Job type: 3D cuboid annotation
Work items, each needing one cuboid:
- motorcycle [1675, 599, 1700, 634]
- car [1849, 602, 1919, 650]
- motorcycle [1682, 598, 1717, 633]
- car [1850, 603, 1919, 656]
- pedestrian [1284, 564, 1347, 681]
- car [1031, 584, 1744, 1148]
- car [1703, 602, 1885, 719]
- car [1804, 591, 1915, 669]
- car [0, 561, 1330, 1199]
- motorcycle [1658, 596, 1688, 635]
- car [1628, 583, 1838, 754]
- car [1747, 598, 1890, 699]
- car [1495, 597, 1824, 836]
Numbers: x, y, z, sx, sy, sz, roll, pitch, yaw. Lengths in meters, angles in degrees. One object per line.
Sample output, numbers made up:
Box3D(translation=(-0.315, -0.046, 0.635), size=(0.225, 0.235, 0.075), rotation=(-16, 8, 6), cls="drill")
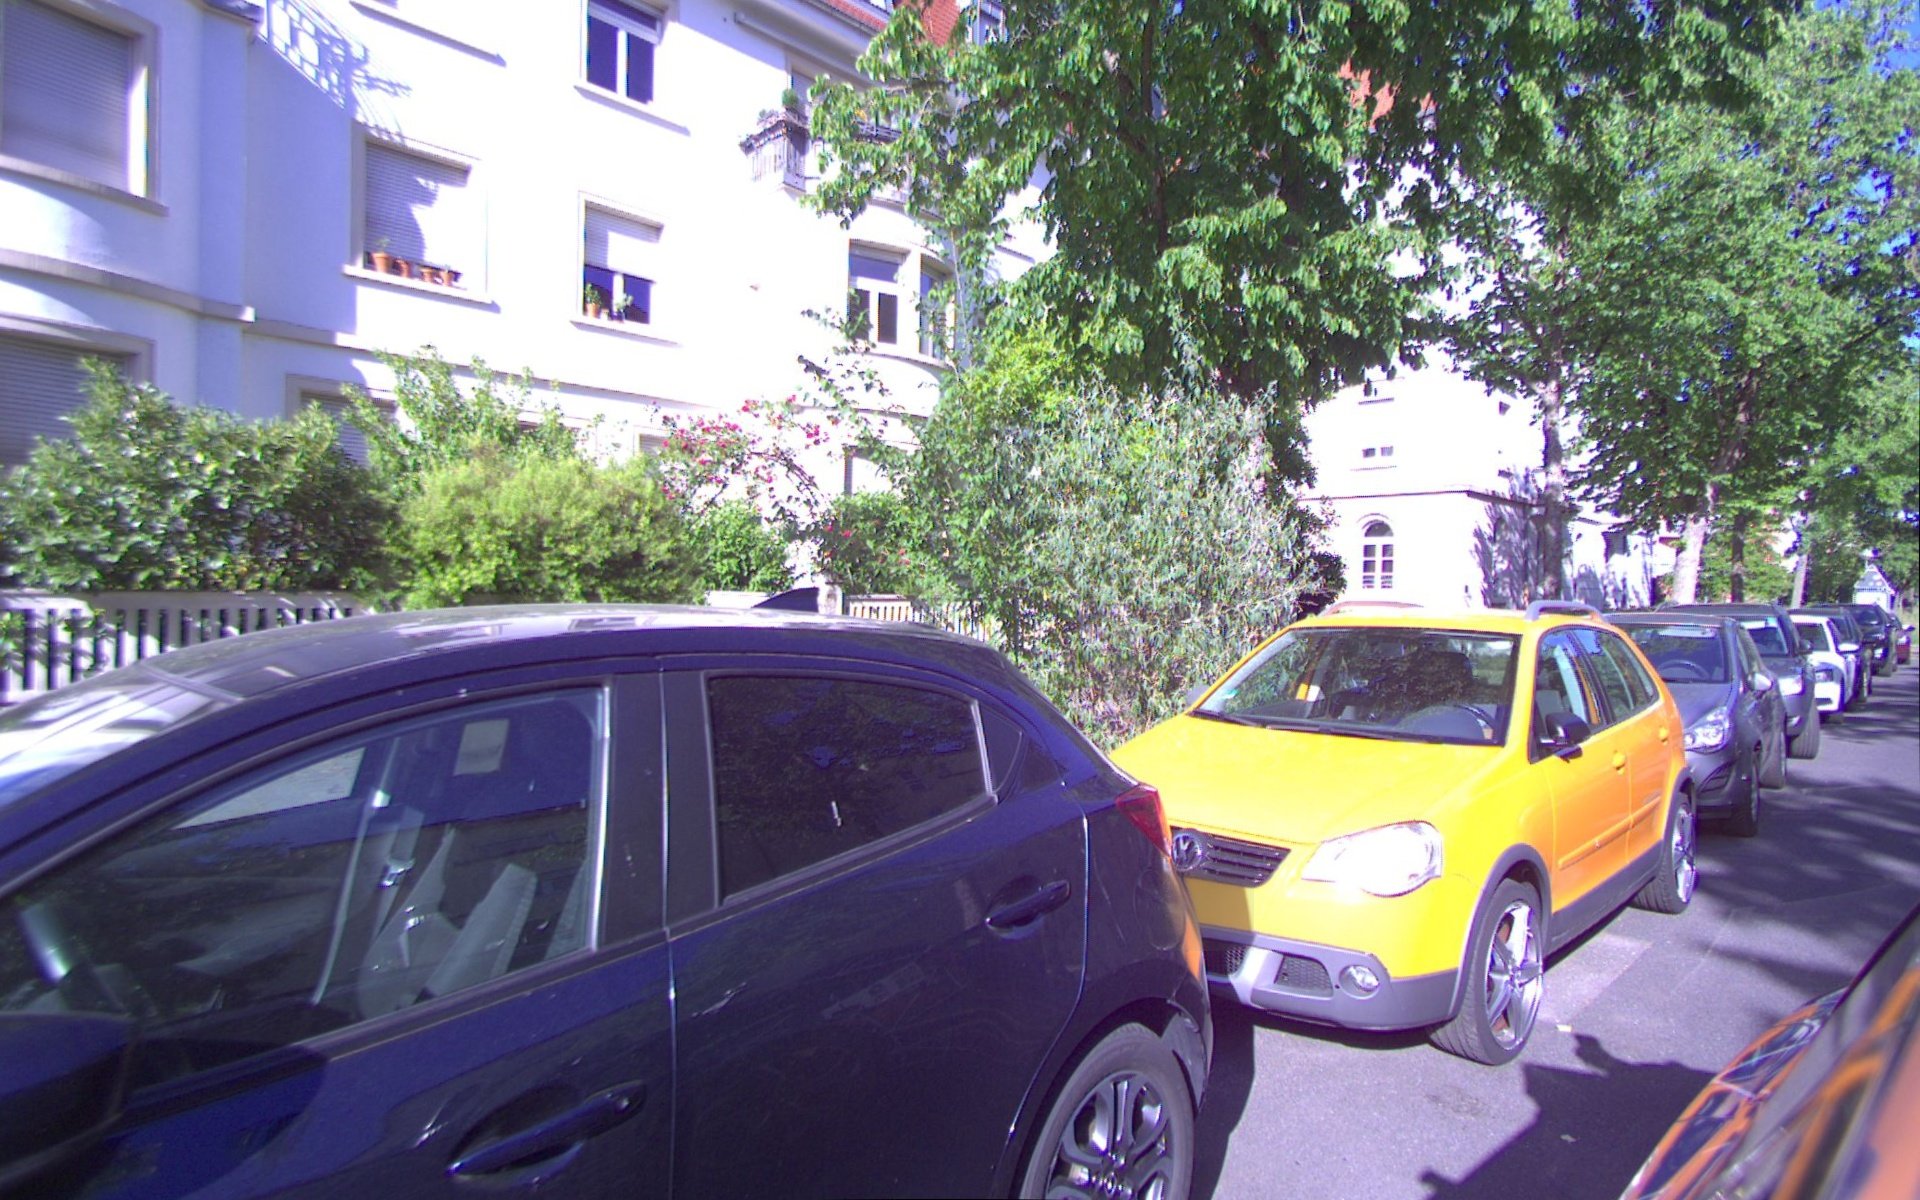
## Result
Box3D(translation=(27.818, 0.612, 38.687), size=(0.655, 1.295, 1.775), rotation=(3, 2, 39), cls="motorcycle")
Box3D(translation=(30.373, 0.806, 33.125), size=(1.653, 1.420, 4.069), rotation=(2, 1, 45), cls="car")
Box3D(translation=(29.180, 0.605, 39.924), size=(0.969, 1.345, 1.826), rotation=(1, 1, 40), cls="motorcycle")
Box3D(translation=(27.137, 0.817, 29.624), size=(1.610, 1.427, 4.286), rotation=(2, 1, 42), cls="car")
Box3D(translation=(5.644, 0.337, 16.072), size=(0.786, 1.797, 0.623), rotation=(1, 1, -44), cls="pedestrian")
Box3D(translation=(2.279, 0.708, 4.700), size=(4.032, 1.473, 1.638), rotation=(1, 1, -45), cls="car")
Box3D(translation=(12.516, 0.789, 15.092), size=(4.296, 1.443, 1.631), rotation=(0, 2, -44), cls="car")
Box3D(translation=(22.088, 0.678, 24.804), size=(1.782, 1.719, 4.227), rotation=(2, 1, 45), cls="car")
Box3D(translation=(-1.112, 0.683, 1.752), size=(4.014, 1.467, 1.702), rotation=(0, 1, -44), cls="car")
Box3D(translation=(26.146, 0.556, 37.076), size=(2.055, 1.378, 0.539), rotation=(0, 0, -45), cls="motorcycle")
Box3D(translation=(9.211, 0.672, 11.942), size=(1.648, 1.676, 3.788), rotation=(1, 0, 42), cls="car")
Box3D(translation=(15.647, 0.794, 18.358), size=(1.684, 1.608, 4.463), rotation=(-2, -1, 44), cls="car")
Box3D(translation=(5.799, 0.736, 8.223), size=(1.649, 1.446, 3.555), rotation=(2, 1, 43), cls="car")
